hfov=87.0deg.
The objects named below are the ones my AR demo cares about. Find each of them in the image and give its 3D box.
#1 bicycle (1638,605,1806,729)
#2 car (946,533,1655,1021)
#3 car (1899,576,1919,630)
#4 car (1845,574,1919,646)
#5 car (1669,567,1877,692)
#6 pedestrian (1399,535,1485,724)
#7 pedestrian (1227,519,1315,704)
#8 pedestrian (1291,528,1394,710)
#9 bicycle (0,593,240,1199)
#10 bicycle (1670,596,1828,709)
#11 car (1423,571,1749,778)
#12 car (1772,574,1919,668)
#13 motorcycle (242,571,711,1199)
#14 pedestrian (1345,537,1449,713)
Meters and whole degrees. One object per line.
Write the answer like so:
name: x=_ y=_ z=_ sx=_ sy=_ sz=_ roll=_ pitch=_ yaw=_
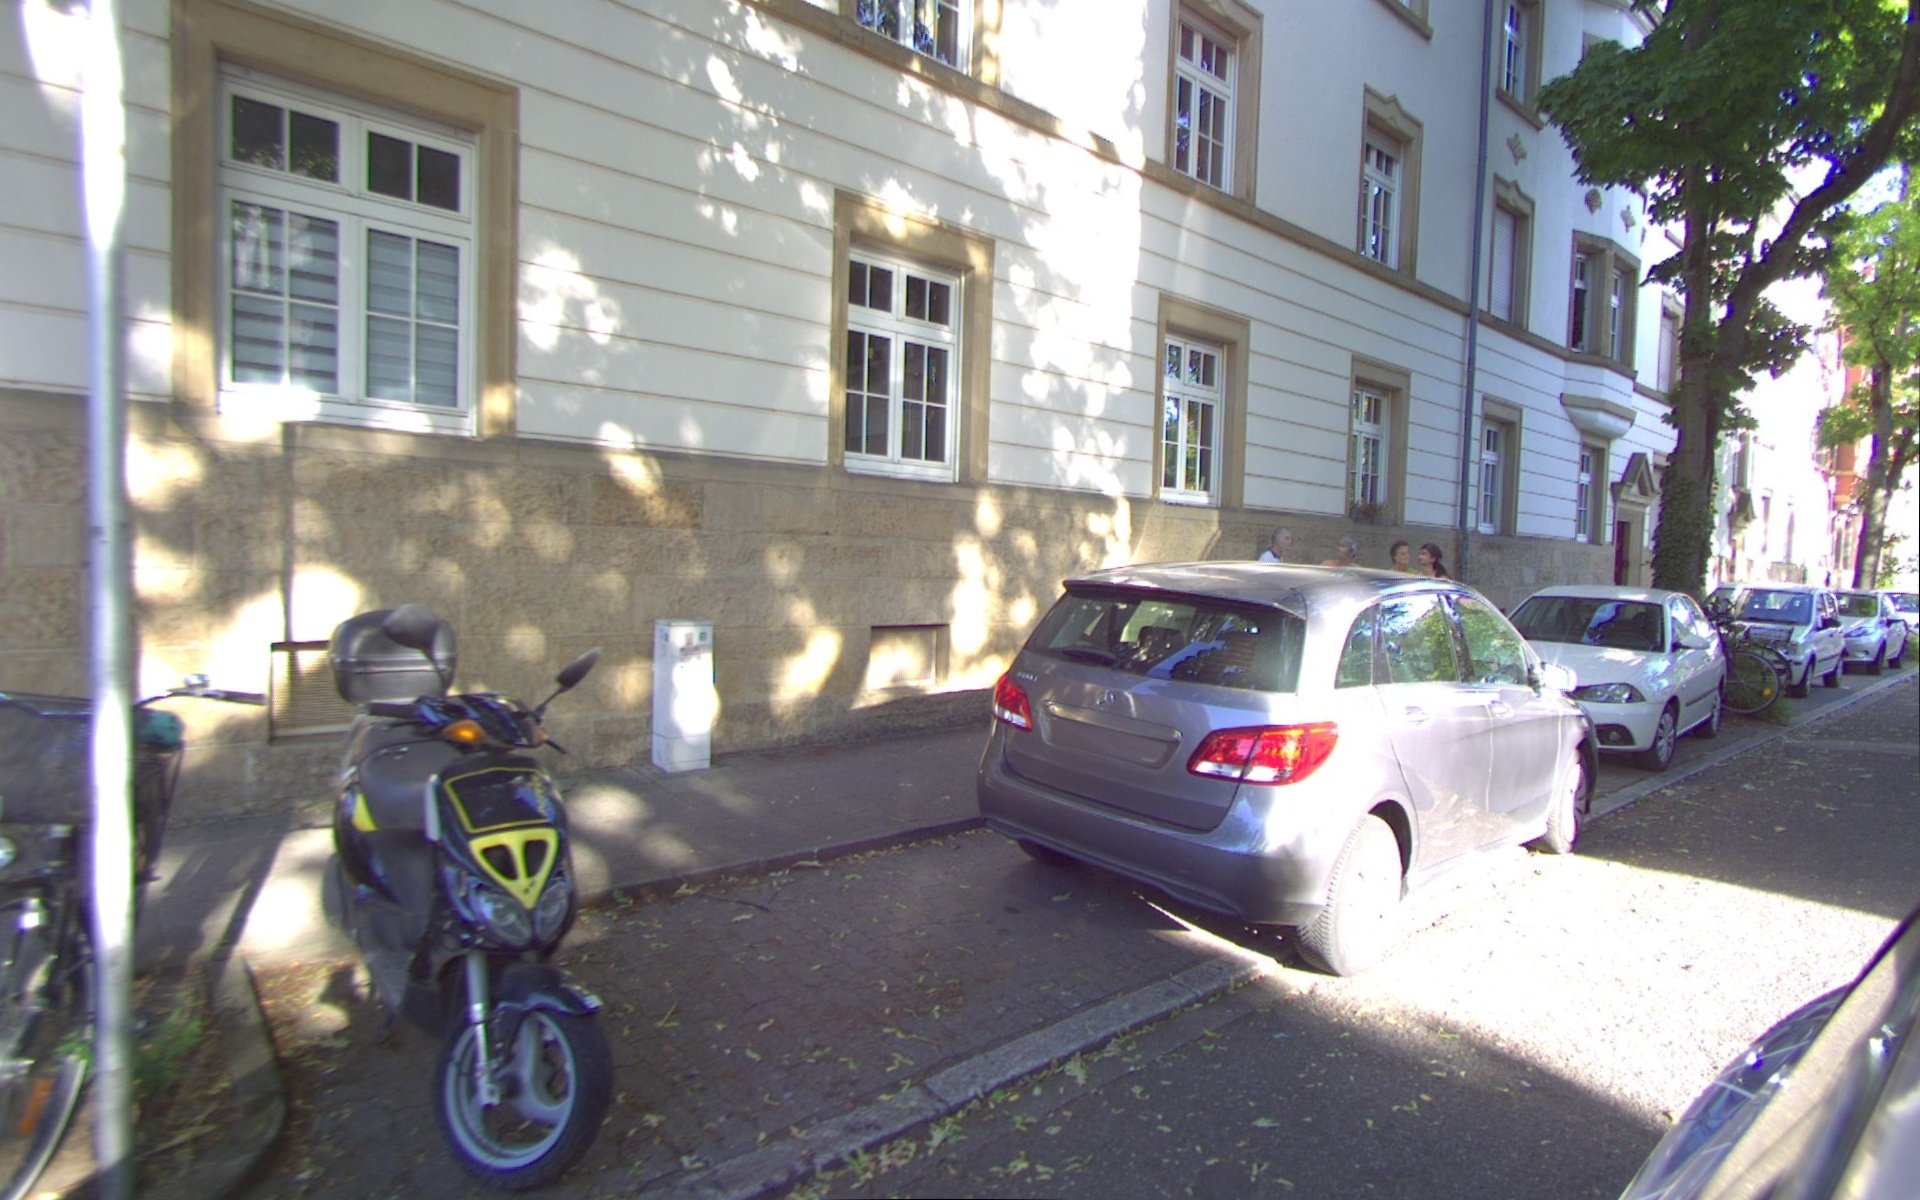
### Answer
bicycle: x=8.459 y=0.710 z=11.279 sx=0.330 sy=1.209 sz=1.413 roll=0 pitch=3 yaw=-42
car: x=2.031 y=0.534 z=5.312 sx=4.063 sy=1.558 sz=1.684 roll=0 pitch=5 yaw=-42
car: x=27.601 y=0.097 z=28.062 sx=3.930 sy=1.437 sz=1.812 roll=-1 pitch=4 yaw=-41
car: x=22.765 y=0.215 z=24.204 sx=3.930 sy=1.548 sz=1.823 roll=0 pitch=3 yaw=-41
car: x=11.992 y=0.341 z=14.849 sx=3.930 sy=1.551 sz=1.639 roll=0 pitch=3 yaw=-41
pedestrian: x=4.619 y=0.260 z=9.702 sx=0.508 sy=1.739 sz=0.519 roll=0 pitch=3 yaw=-43
pedestrian: x=3.277 y=0.101 z=10.671 sx=0.694 sy=1.867 sz=0.529 roll=0 pitch=3 yaw=-40
pedestrian: x=4.141 y=0.179 z=10.948 sx=0.705 sy=1.867 sz=0.827 roll=4 pitch=3 yaw=44
bicycle: x=-2.238 y=0.644 z=2.487 sx=0.424 sy=1.175 sz=1.803 roll=1 pitch=4 yaw=-25
bicycle: x=9.486 y=0.597 z=12.209 sx=0.330 sy=1.209 sz=1.413 roll=0 pitch=3 yaw=-42
car: x=5.895 y=0.505 z=9.341 sx=1.724 sy=1.423 sz=3.795 roll=6 pitch=5 yaw=44
car: x=16.352 y=0.314 z=18.478 sx=3.930 sy=1.459 sz=1.650 roll=-1 pitch=3 yaw=-41
motorcycle: x=-1.530 y=0.615 z=2.972 sx=0.667 sy=1.227 sz=1.853 roll=2 pitch=5 yaw=-43
pedestrian: x=4.468 y=0.225 z=10.347 sx=0.804 sy=1.705 sz=0.624 roll=0 pitch=3 yaw=-41
